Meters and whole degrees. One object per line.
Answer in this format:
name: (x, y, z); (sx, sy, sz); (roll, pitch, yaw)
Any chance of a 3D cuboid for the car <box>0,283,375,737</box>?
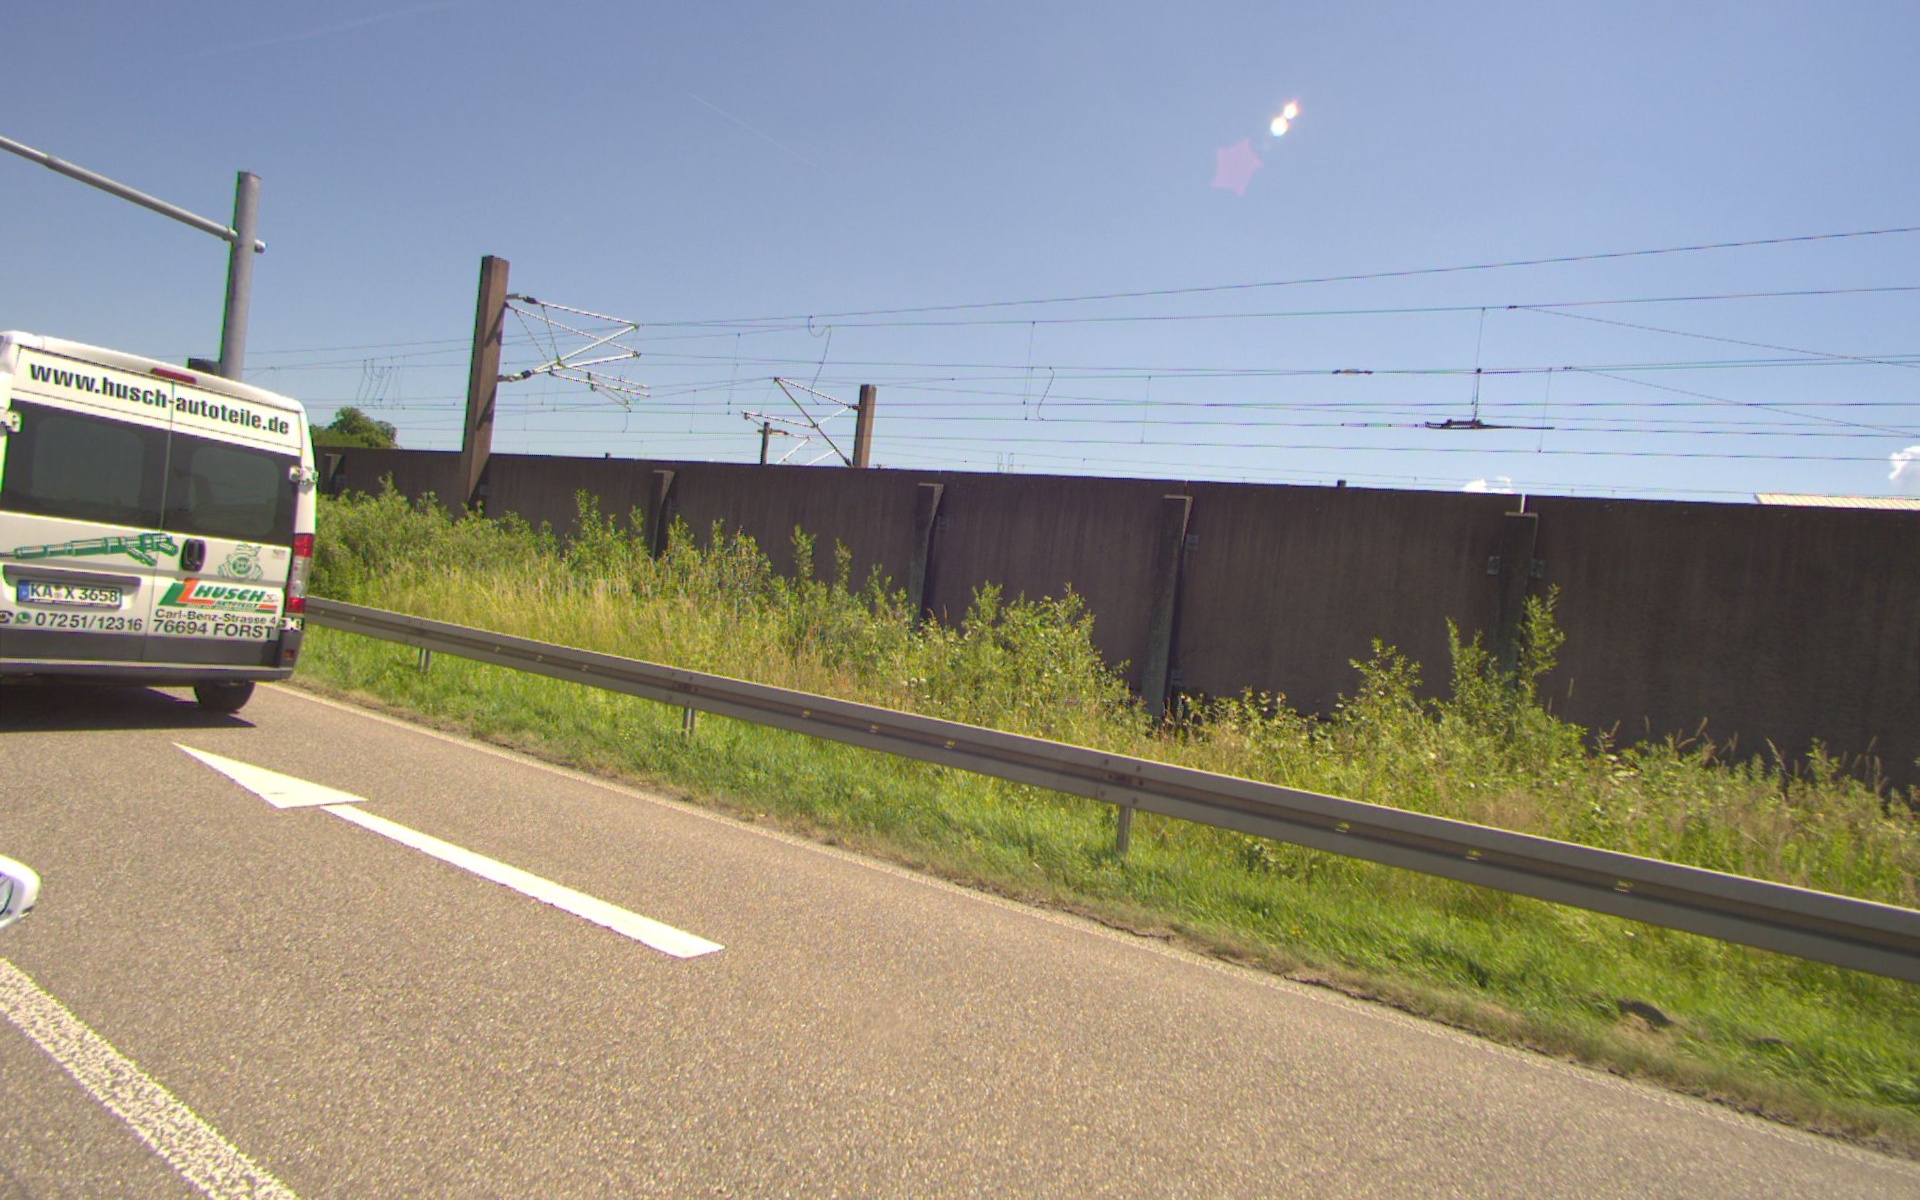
car: (-7.959, -0.757, 8.409); (6.638, 2.634, 2.192); (7, -1, 31)
